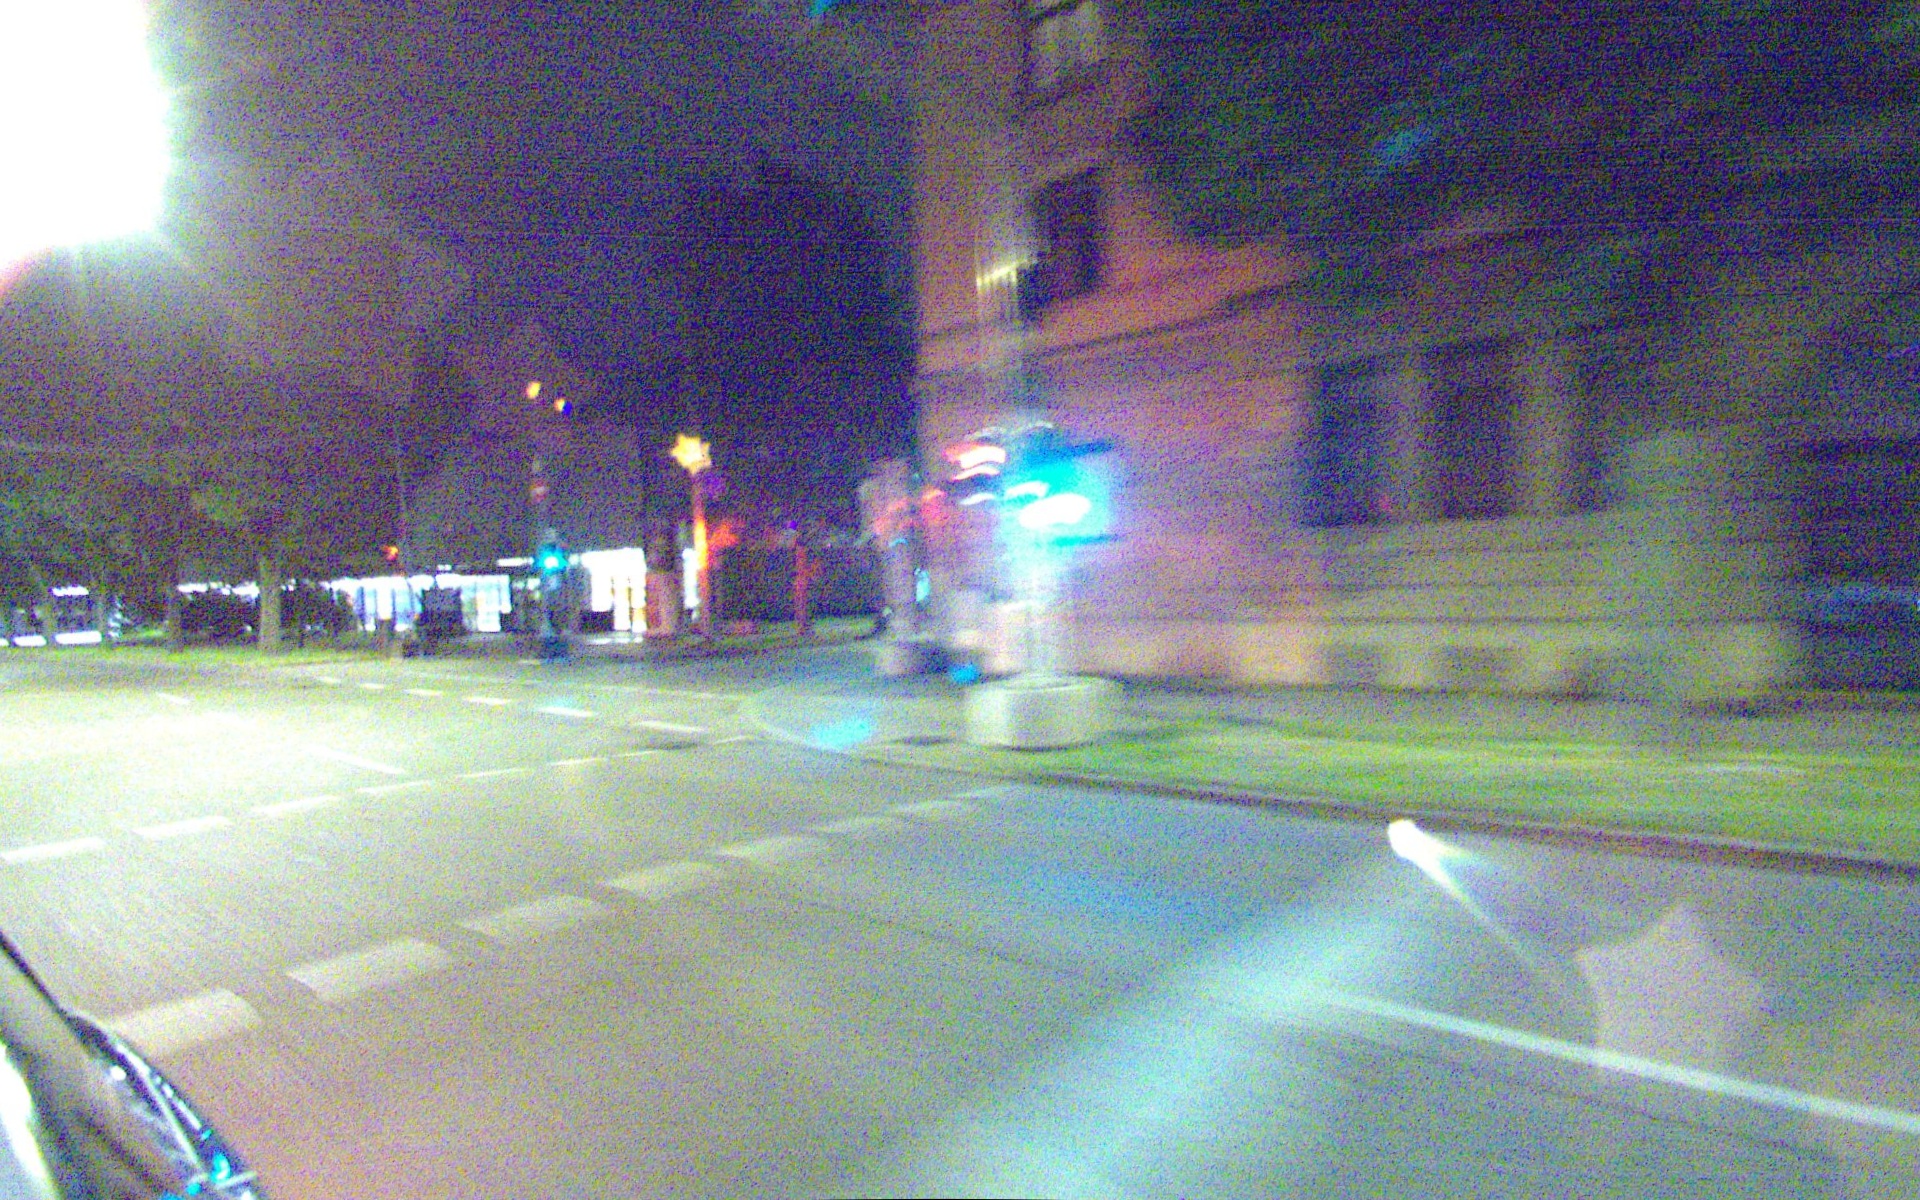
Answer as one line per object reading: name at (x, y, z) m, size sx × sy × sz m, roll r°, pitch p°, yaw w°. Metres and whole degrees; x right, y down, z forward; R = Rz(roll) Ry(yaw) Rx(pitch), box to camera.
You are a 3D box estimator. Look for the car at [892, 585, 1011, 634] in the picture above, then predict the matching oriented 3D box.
car at (-0.234, 0.271, 35.293) m, size 1.831 × 1.403 × 4.334 m, roll 4°, pitch 5°, yaw 37°
